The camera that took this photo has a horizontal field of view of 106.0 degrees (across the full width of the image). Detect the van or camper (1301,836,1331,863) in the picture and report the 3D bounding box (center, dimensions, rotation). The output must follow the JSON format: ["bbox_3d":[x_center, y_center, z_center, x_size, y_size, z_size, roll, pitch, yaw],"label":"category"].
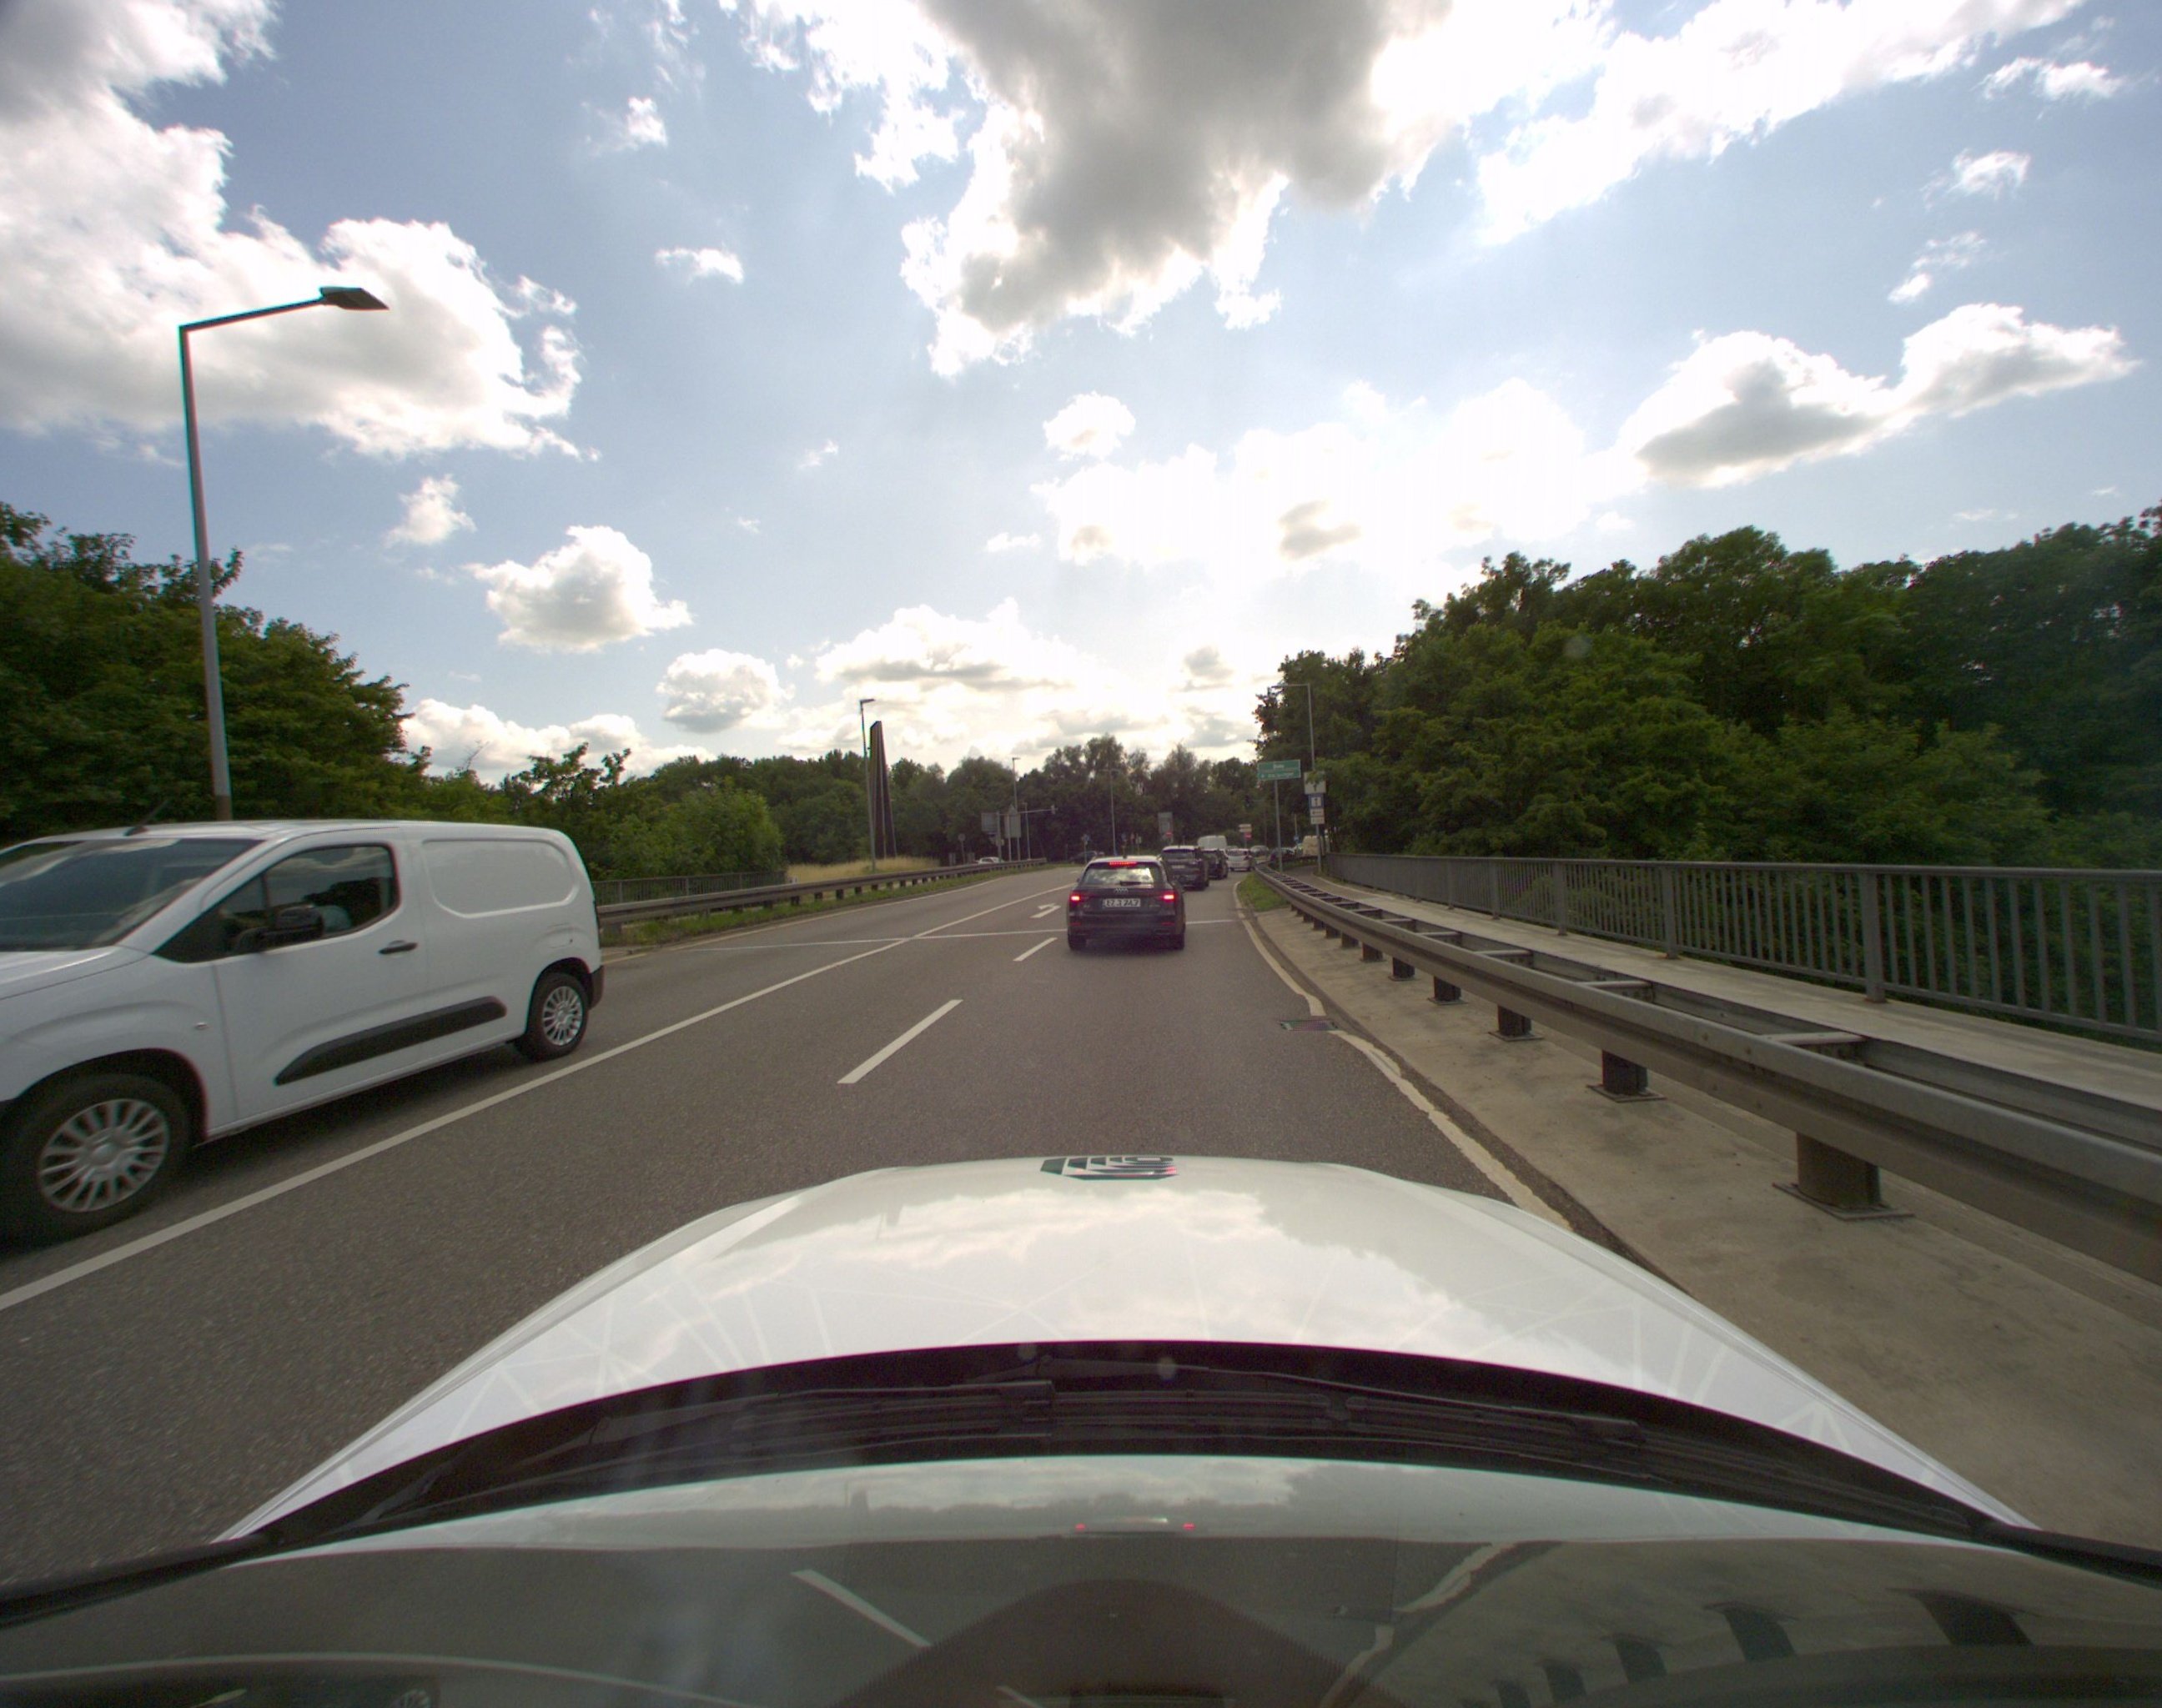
[{"bbox_3d":[23.380,-0.502,80.875,1.974,2.590,4.115,0,1,30],"label":"van or camper"}]

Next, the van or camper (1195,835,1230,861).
[{"bbox_3d":[12.313,-0.542,76.648,2.268,2.340,5.235,-1,0,-3],"label":"van or camper"}]

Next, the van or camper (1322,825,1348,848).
[{"bbox_3d":[41.497,-2.914,132.768,2.877,3.615,8.179,1,2,25],"label":"van or camper"}]

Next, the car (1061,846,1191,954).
[{"bbox_3d":[0.901,0.662,13.662,1.818,1.491,4.215,-2,0,7],"label":"car"}]

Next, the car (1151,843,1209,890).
[{"bbox_3d":[3.826,0.431,30.907,1.809,1.651,3.869,-1,0,12],"label":"car"}]

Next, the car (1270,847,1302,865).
[{"bbox_3d":[17.141,0.126,68.005,1.667,1.398,3.701,-2,0,28],"label":"car"}]

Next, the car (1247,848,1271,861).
[{"bbox_3d":[23.802,0.075,108.678,1.974,1.623,4.025,0,0,31],"label":"car"}]

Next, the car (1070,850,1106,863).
[{"bbox_3d":[0.790,0.290,94.370,3.765,1.371,1.681,0,2,23],"label":"car"}]

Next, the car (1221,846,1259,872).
[{"bbox_3d":[10.479,0.311,53.449,1.718,1.651,3.876,-1,0,22],"label":"car"}]

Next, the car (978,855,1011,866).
[{"bbox_3d":[-9.359,0.679,87.889,3.544,1.117,1.604,0,0,42],"label":"car"}]

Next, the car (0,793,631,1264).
[{"bbox_3d":[-4.861,0.663,4.814,1.806,1.754,4.308,-2,0,2],"label":"car"}]

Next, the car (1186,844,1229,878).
[{"bbox_3d":[6.454,0.324,41.217,1.721,1.651,3.871,0,1,15],"label":"car"}]
